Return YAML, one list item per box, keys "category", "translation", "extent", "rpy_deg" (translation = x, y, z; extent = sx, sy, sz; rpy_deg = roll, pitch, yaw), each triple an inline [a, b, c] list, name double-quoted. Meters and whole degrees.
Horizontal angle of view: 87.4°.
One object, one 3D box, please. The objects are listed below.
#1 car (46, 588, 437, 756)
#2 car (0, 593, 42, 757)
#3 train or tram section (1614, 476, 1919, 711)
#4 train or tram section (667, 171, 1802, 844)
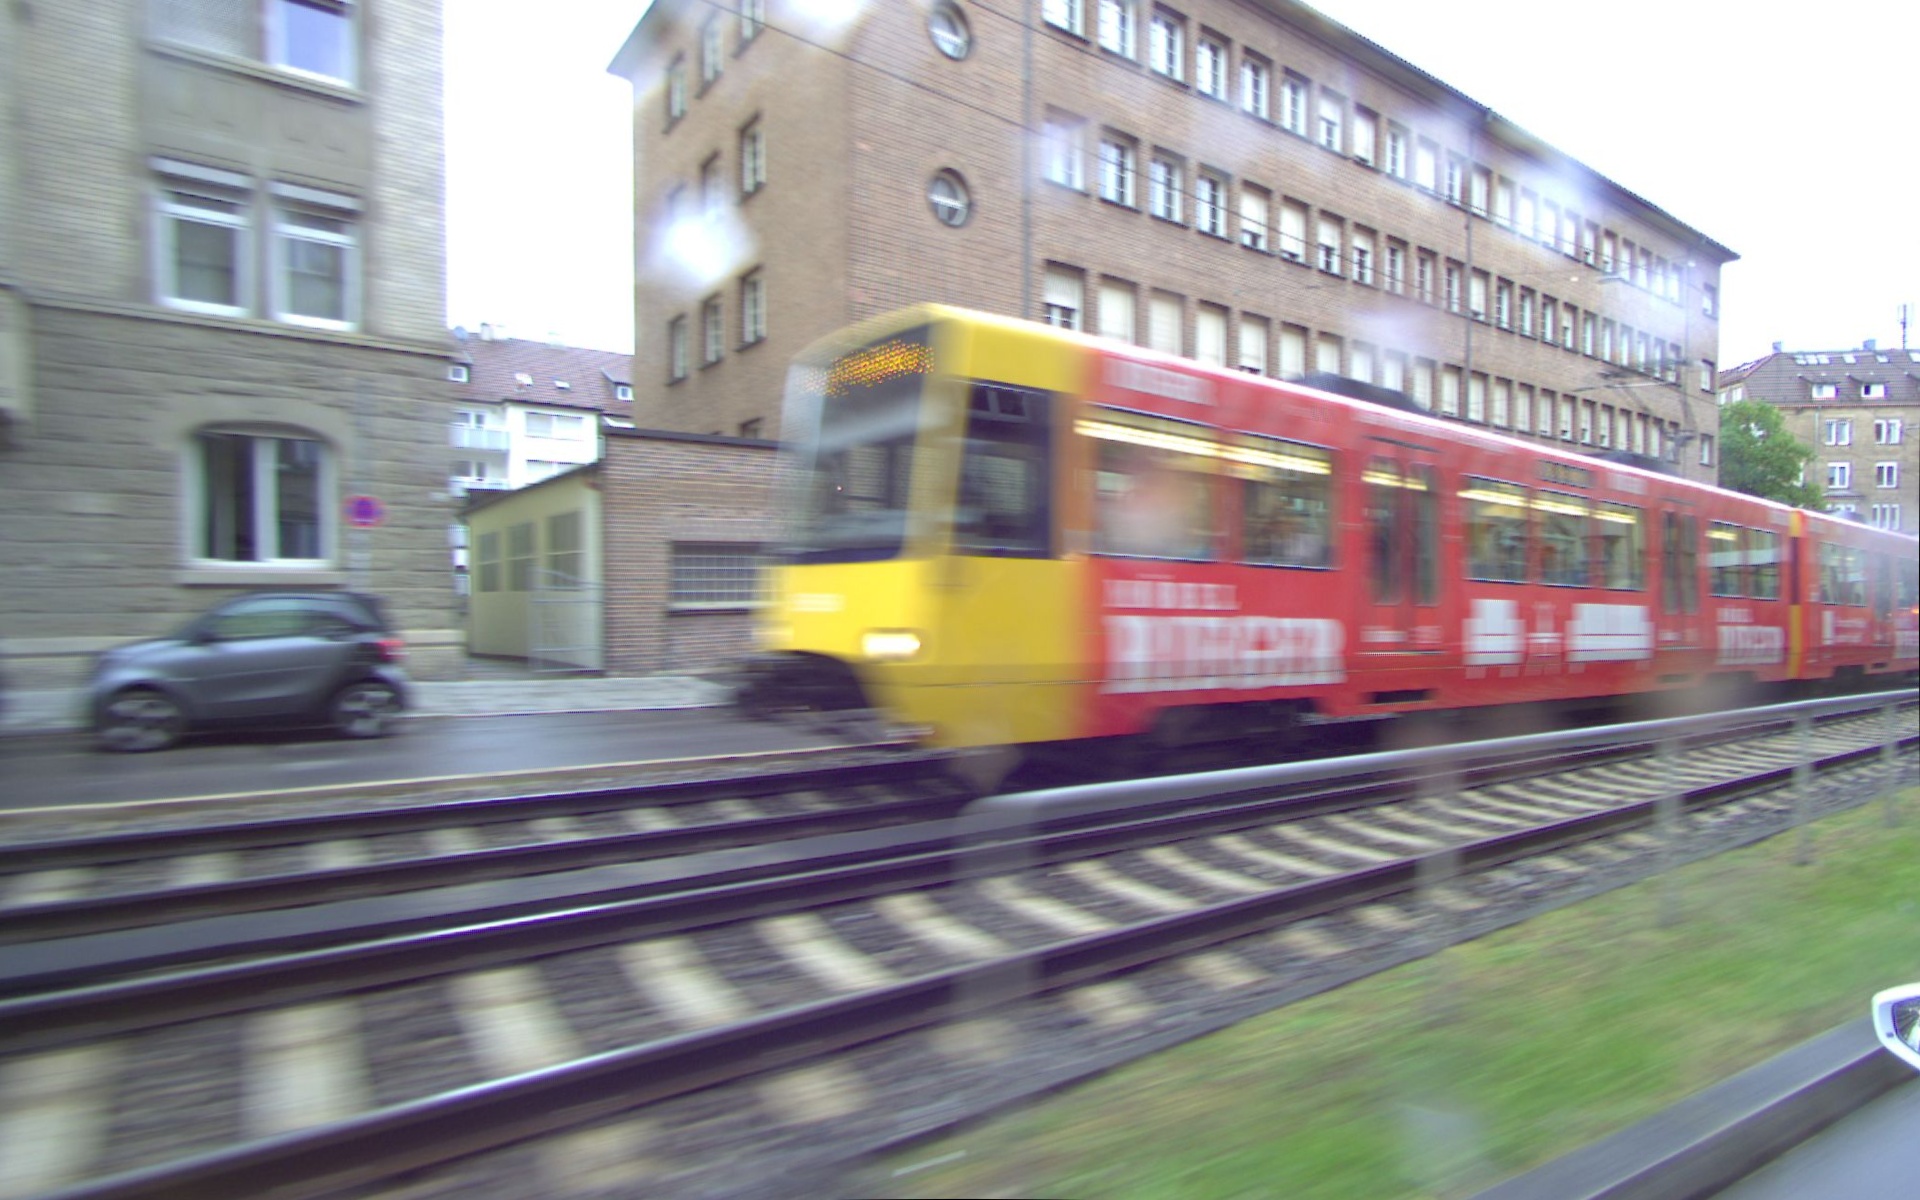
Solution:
- category: "car"
  translation: [-7.273, 0.668, 10.457]
  extent: [3.079, 1.486, 1.634]
  rpy_deg: [1, -1, -35]
- category: "car"
  translation: [-10.226, 0.615, 8.343]
  extent: [3.595, 1.422, 1.634]
  rpy_deg: [1, -1, -35]
- category: "train or tram section"
  translation: [21.194, 0.130, 24.004]
  extent: [19.675, 3.973, 2.695]
  rpy_deg: [2, -1, -37]
- category: "train or tram section"
  translation: [6.107, -0.313, 12.740]
  extent: [19.116, 3.973, 2.695]
  rpy_deg: [2, -1, -37]
